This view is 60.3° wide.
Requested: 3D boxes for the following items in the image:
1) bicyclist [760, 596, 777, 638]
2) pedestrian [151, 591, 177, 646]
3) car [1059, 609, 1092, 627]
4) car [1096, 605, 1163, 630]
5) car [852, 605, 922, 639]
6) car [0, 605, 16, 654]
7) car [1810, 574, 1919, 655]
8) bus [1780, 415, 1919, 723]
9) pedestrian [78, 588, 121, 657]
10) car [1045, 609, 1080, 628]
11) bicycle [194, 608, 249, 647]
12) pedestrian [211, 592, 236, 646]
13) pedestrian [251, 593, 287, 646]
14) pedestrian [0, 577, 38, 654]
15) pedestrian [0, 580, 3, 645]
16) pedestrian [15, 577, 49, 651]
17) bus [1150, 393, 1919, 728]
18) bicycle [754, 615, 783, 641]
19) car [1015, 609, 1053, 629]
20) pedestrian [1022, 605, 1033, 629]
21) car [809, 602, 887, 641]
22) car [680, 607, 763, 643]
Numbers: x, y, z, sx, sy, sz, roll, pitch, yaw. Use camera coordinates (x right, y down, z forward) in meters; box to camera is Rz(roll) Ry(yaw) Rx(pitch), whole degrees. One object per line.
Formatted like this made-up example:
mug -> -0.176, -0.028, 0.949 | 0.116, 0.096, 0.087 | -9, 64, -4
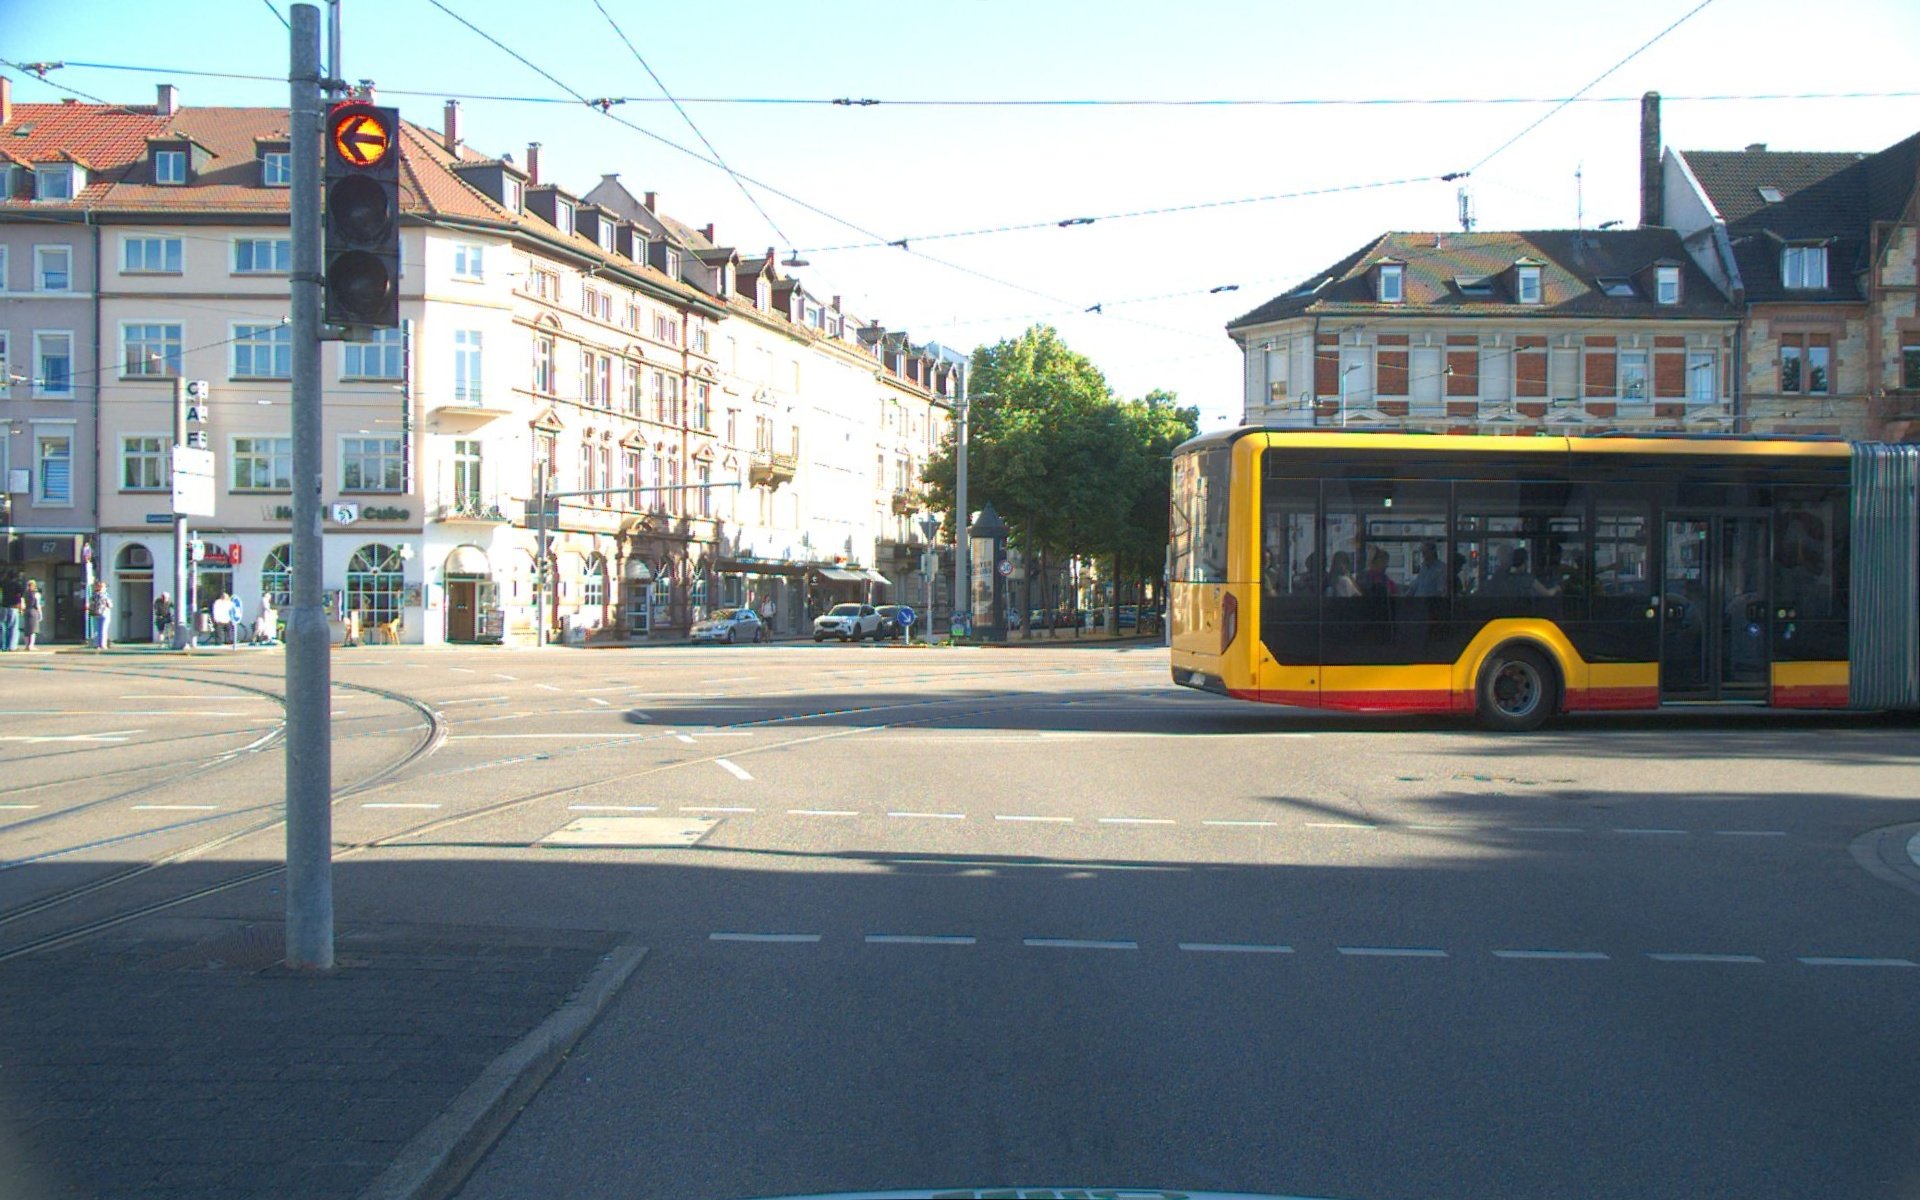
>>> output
bicyclist -> -7.541, 0.654, 65.060 | 0.479, 1.629, 0.667 | 0, 0, 9
pedestrian -> -24.947, 0.585, 51.829 | 0.731, 1.711, 0.623 | 0, 0, -26
car -> 9.583, 1.479, 136.717 | 1.951, 1.429, 4.172 | 0, 0, 15
car -> 10.258, 1.039, 99.815 | 3.902, 1.480, 1.683 | 0, 0, 10
car -> -3.219, 0.953, 73.572 | 1.951, 1.429, 4.172 | 0, 0, 15
car -> -32.128, 0.902, 52.150 | 3.651, 1.517, 1.818 | 1, 0, 2
car -> 24.900, 0.356, 42.752 | 4.879, 2.049, 2.000 | 0, 0, -1
bus -> 15.384, -0.379, 20.747 | 9.237, 3.518, 2.775 | 0, 1, -9
pedestrian -> -21.470, 0.557, 41.273 | 0.725, 1.711, 0.628 | 0, 0, -1
car -> 8.154, 1.433, 131.499 | 1.951, 1.429, 4.172 | 0, 0, 15
bicycle -> -25.142, 0.925, 56.303 | 1.684, 1.299, 0.385 | 0, 0, -18
pedestrian -> -23.902, 0.609, 53.659 | 0.731, 1.711, 0.623 | 0, 0, -26
pedestrian -> -22.777, 0.632, 54.534 | 0.891, 1.711, 0.742 | 0, 0, -7
pedestrian -> -22.911, 0.370, 40.044 | 0.751, 1.861, 0.722 | 0, 0, -1
pedestrian -> -24.292, 0.316, 41.120 | 0.685, 1.609, 0.559 | 0, 0, -6
pedestrian -> -23.008, 0.338, 41.014 | 0.549, 1.817, 0.559 | 0, 0, -6
bus -> 6.695, -0.411, 19.373 | 8.454, 3.518, 2.782 | 0, 1, -9
bicycle -> -7.550, 1.099, 65.160 | 0.641, 1.018, 1.666 | 1, 0, 11
car -> 5.486, 1.378, 122.632 | 1.951, 1.429, 4.172 | 0, 0, 15
pedestrian -> 4.016, 0.976, 97.930 | 0.535, 1.409, 0.626 | 0, 0, 15
car -> -4.524, 0.848, 67.380 | 1.951, 1.542, 4.172 | 0, 0, 15
car -> -9.593, 0.986, 66.874 | 1.951, 1.385, 3.821 | 0, 0, 15
